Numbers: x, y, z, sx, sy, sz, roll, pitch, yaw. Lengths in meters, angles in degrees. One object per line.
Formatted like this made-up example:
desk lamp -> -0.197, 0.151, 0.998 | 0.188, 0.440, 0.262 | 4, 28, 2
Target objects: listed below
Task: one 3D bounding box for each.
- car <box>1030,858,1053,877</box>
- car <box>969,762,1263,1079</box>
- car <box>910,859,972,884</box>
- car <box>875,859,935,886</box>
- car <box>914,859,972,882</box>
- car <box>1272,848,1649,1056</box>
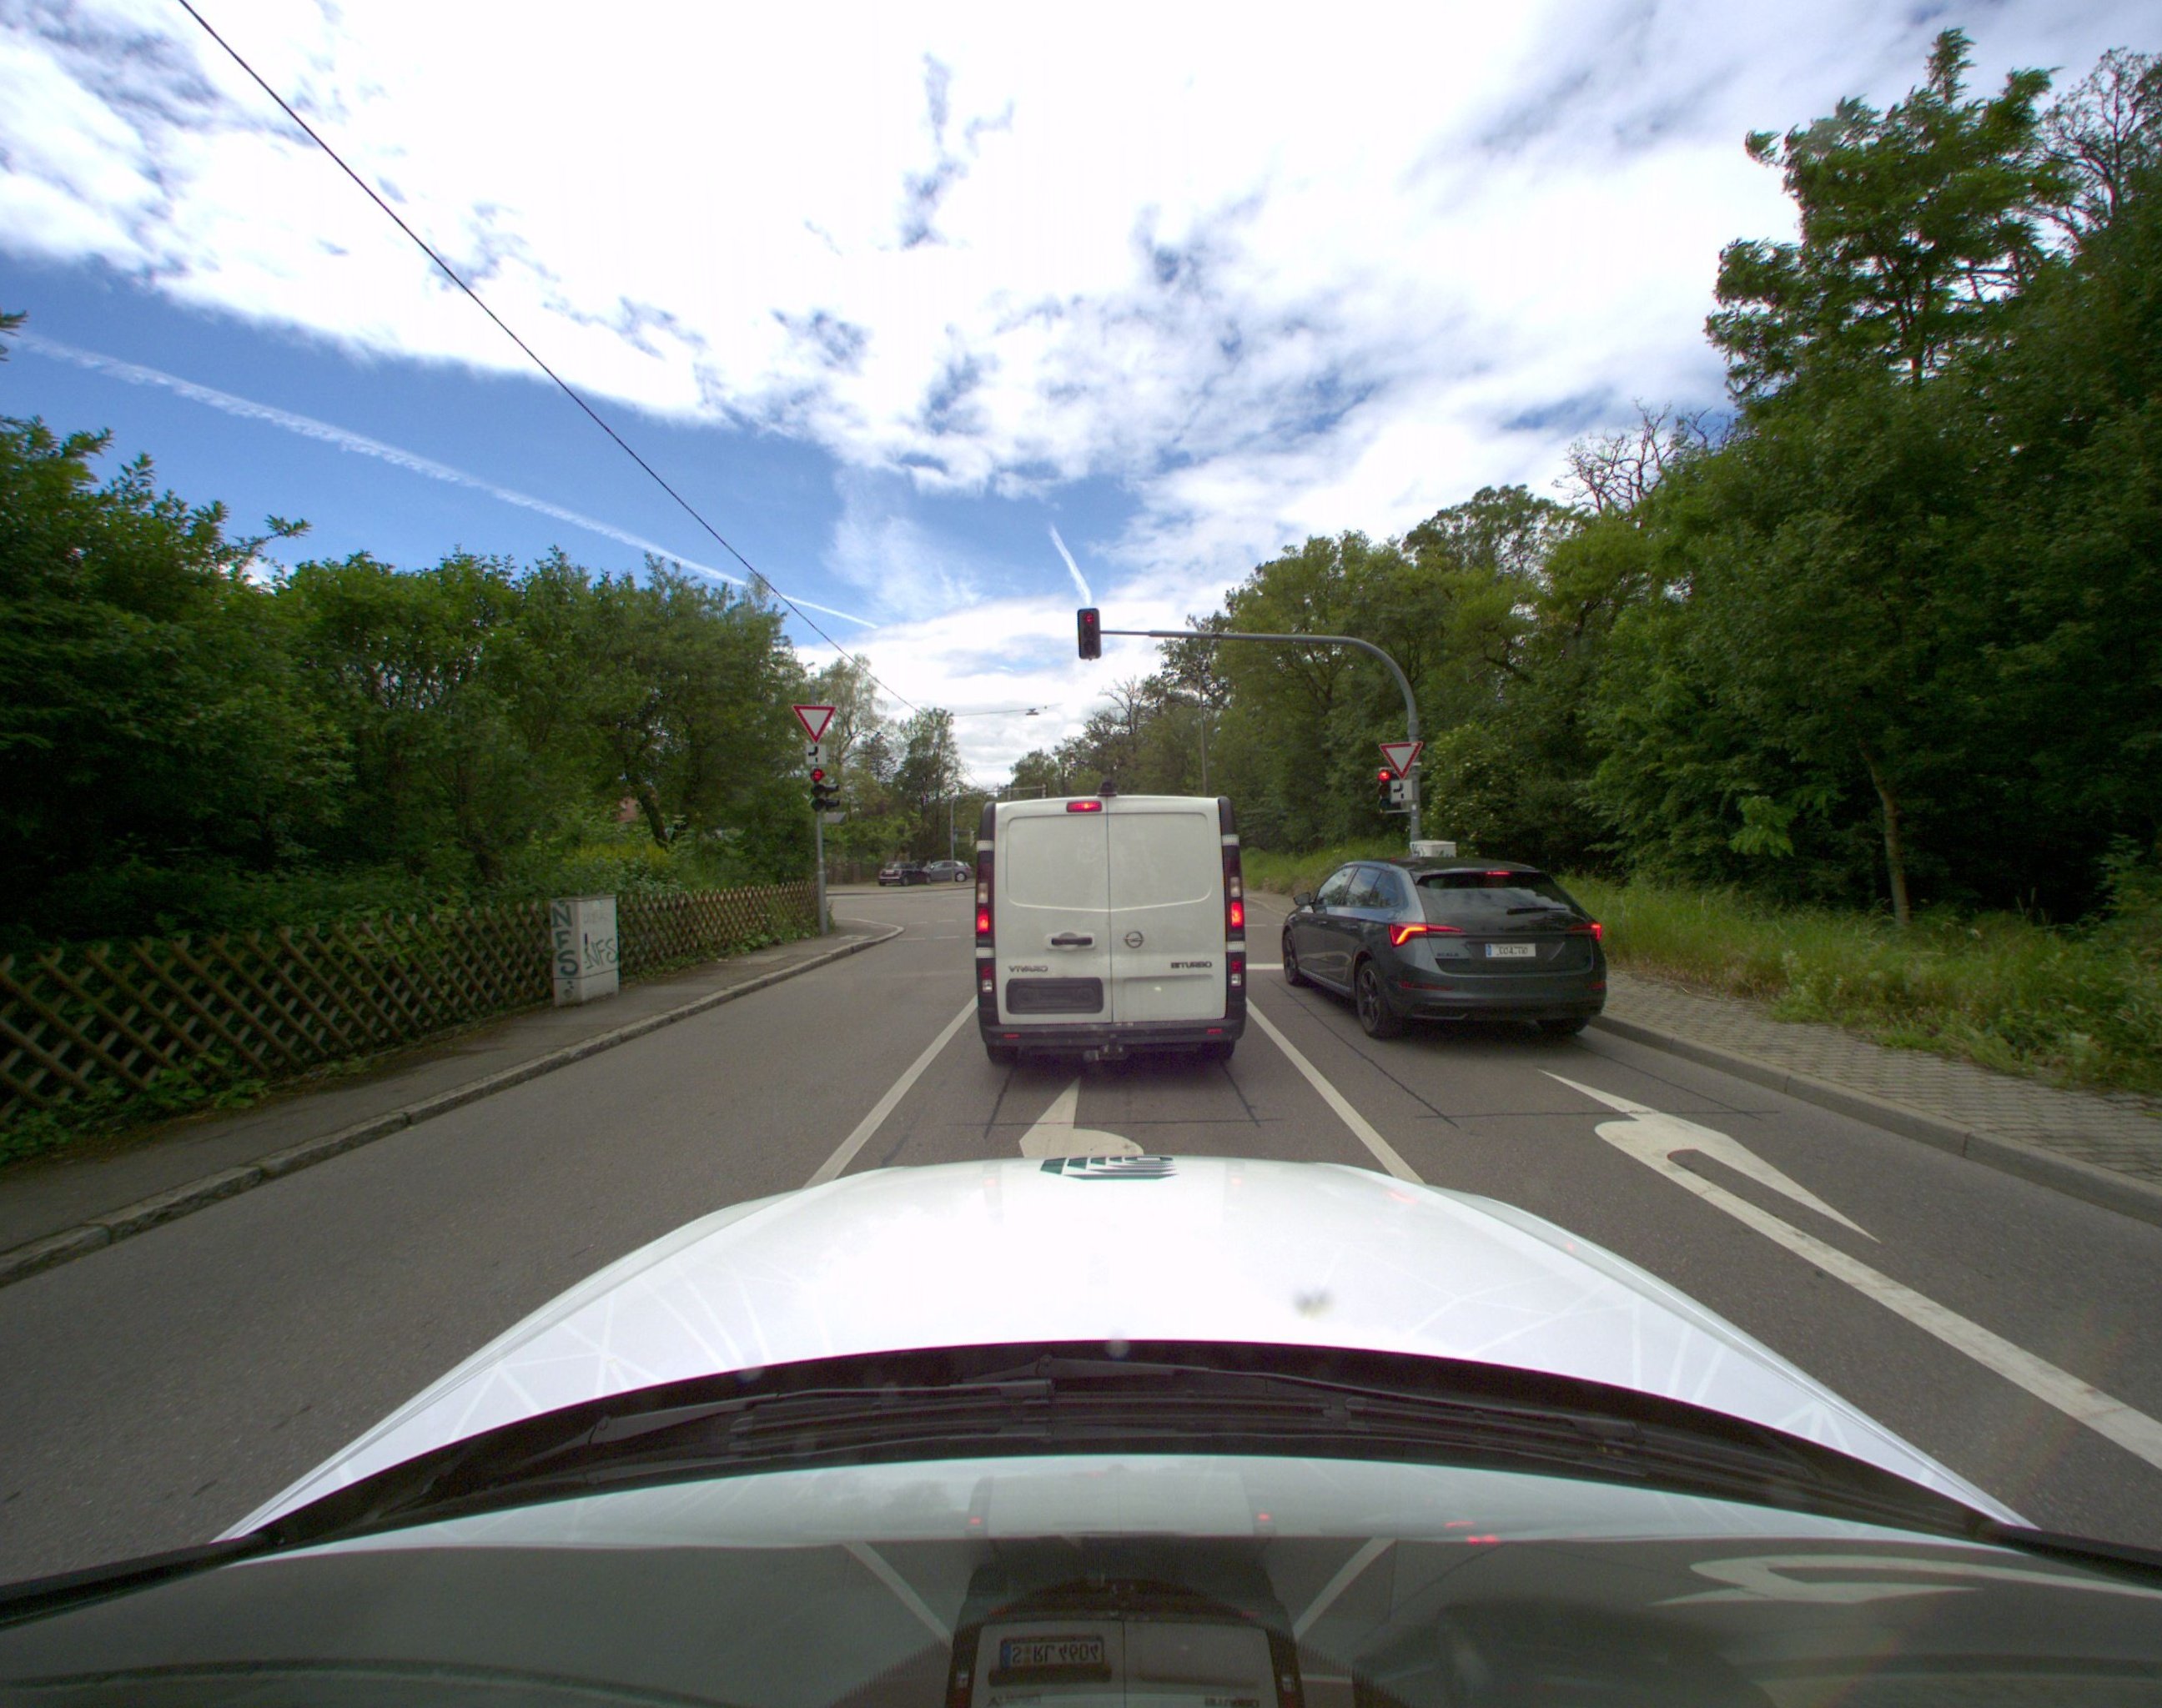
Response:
car -> -3.281, 1.080, 68.088 | 1.852, 1.507, 3.996 | -1, 0, -2
car -> 0.221, 0.432, 7.598 | 1.910, 2.053, 4.613 | 0, 0, 0
car -> -9.885, 1.217, 57.423 | 4.094, 1.553, 1.845 | -1, 0, -16
car -> -10.156, 1.029, 47.173 | 1.683, 1.449, 3.562 | 1, 0, 22
car -> -10.273, 1.210, 60.614 | 4.094, 1.553, 1.845 | -1, 0, -16
car -> 3.196, 0.701, 7.849 | 1.786, 1.450, 4.000 | -1, 0, 1
